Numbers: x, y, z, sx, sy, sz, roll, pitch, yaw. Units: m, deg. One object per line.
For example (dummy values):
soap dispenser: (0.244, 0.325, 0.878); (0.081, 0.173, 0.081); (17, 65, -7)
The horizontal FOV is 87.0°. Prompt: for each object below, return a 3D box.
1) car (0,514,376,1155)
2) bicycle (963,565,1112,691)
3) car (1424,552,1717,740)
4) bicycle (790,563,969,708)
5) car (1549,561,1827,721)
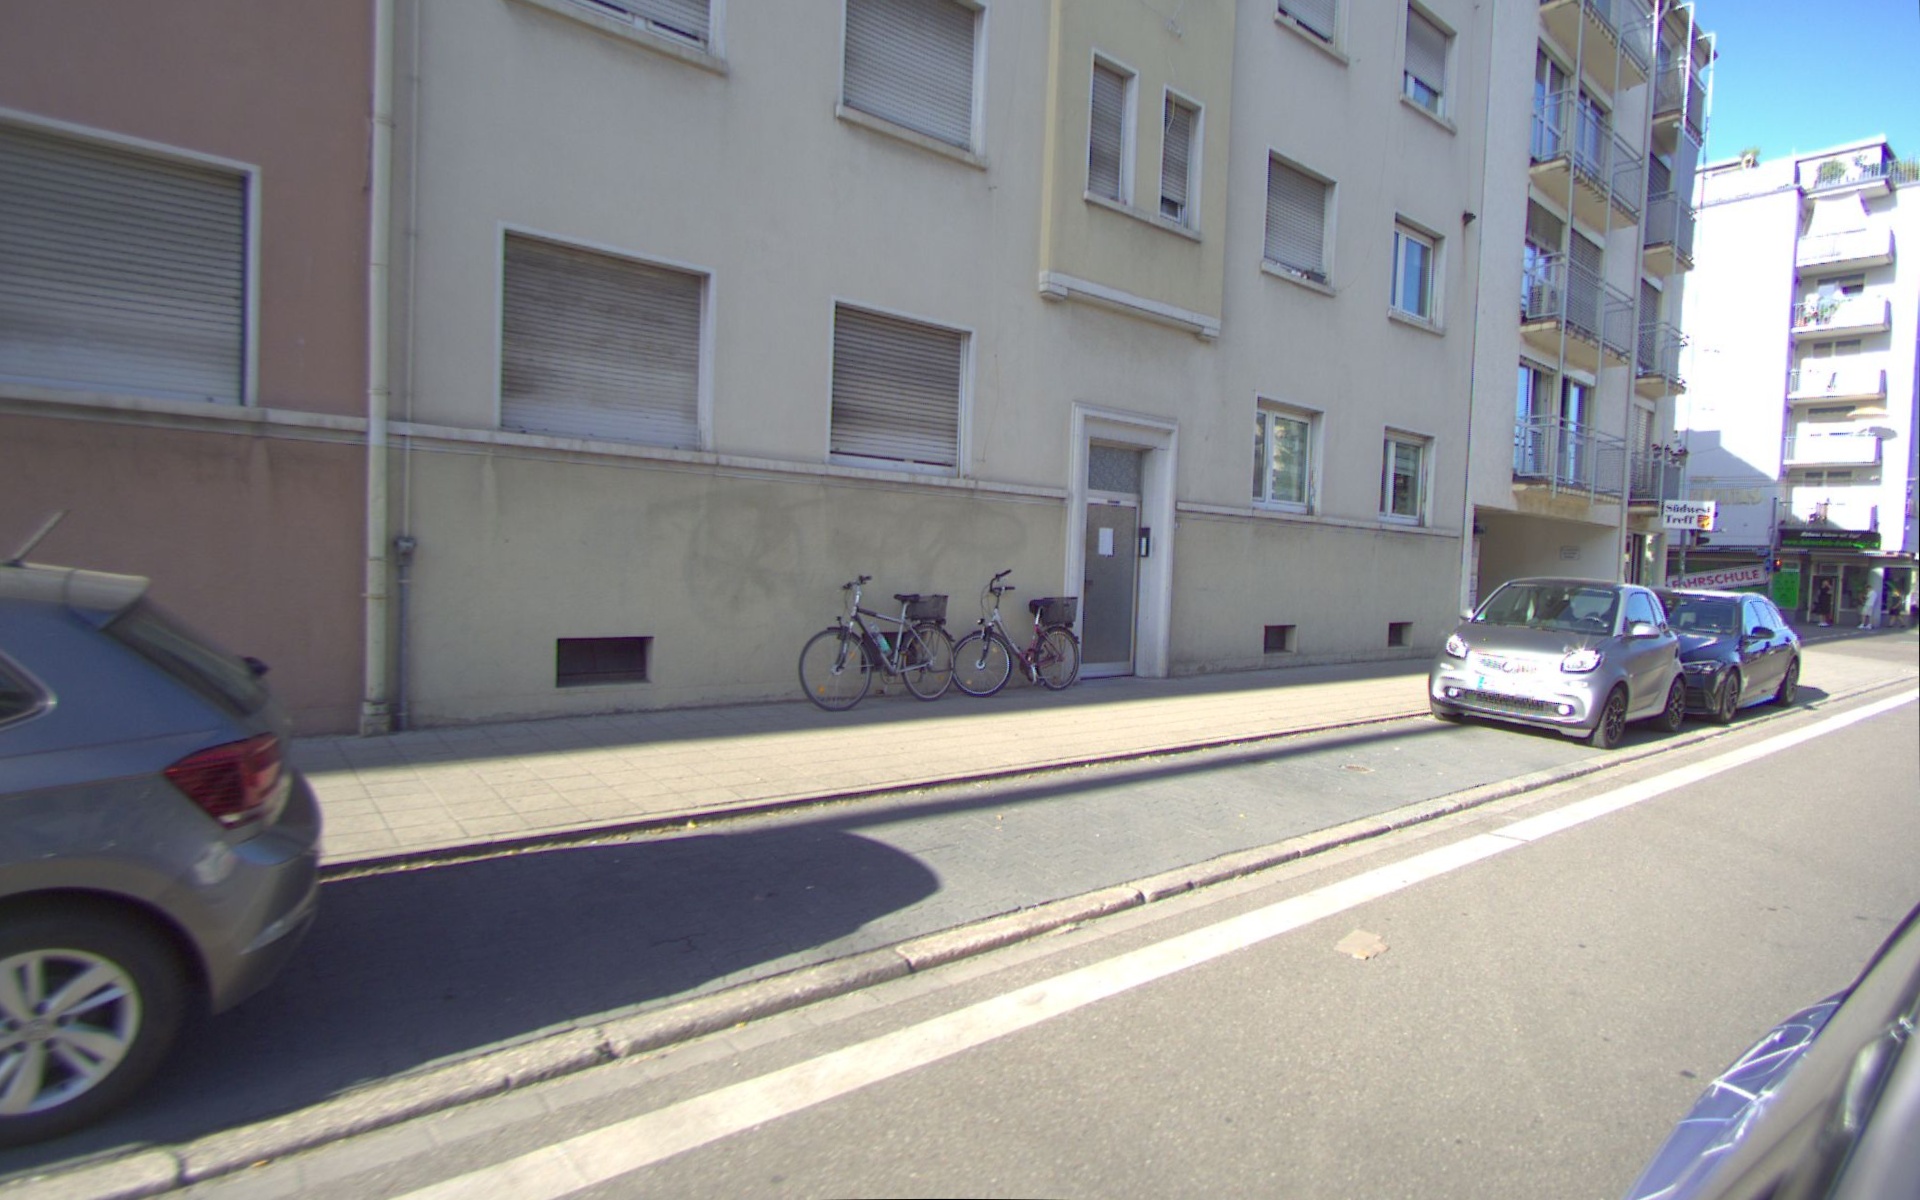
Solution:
car: (-3.817, 0.541, 2.284); (4.081, 1.496, 1.750); (-1, 6, -41)
bicycle: (0.810, 0.258, 10.225); (1.731, 1.189, 0.325); (-1, 0, -38)
car: (6.236, 0.359, 10.303); (2.603, 1.570, 1.762); (-1, 4, -41)
bicycle: (-0.678, 0.281, 9.025); (1.733, 1.189, 0.324); (-1, 0, -41)
car: (9.132, 0.382, 12.573); (4.102, 1.570, 1.822); (-1, 5, -41)
